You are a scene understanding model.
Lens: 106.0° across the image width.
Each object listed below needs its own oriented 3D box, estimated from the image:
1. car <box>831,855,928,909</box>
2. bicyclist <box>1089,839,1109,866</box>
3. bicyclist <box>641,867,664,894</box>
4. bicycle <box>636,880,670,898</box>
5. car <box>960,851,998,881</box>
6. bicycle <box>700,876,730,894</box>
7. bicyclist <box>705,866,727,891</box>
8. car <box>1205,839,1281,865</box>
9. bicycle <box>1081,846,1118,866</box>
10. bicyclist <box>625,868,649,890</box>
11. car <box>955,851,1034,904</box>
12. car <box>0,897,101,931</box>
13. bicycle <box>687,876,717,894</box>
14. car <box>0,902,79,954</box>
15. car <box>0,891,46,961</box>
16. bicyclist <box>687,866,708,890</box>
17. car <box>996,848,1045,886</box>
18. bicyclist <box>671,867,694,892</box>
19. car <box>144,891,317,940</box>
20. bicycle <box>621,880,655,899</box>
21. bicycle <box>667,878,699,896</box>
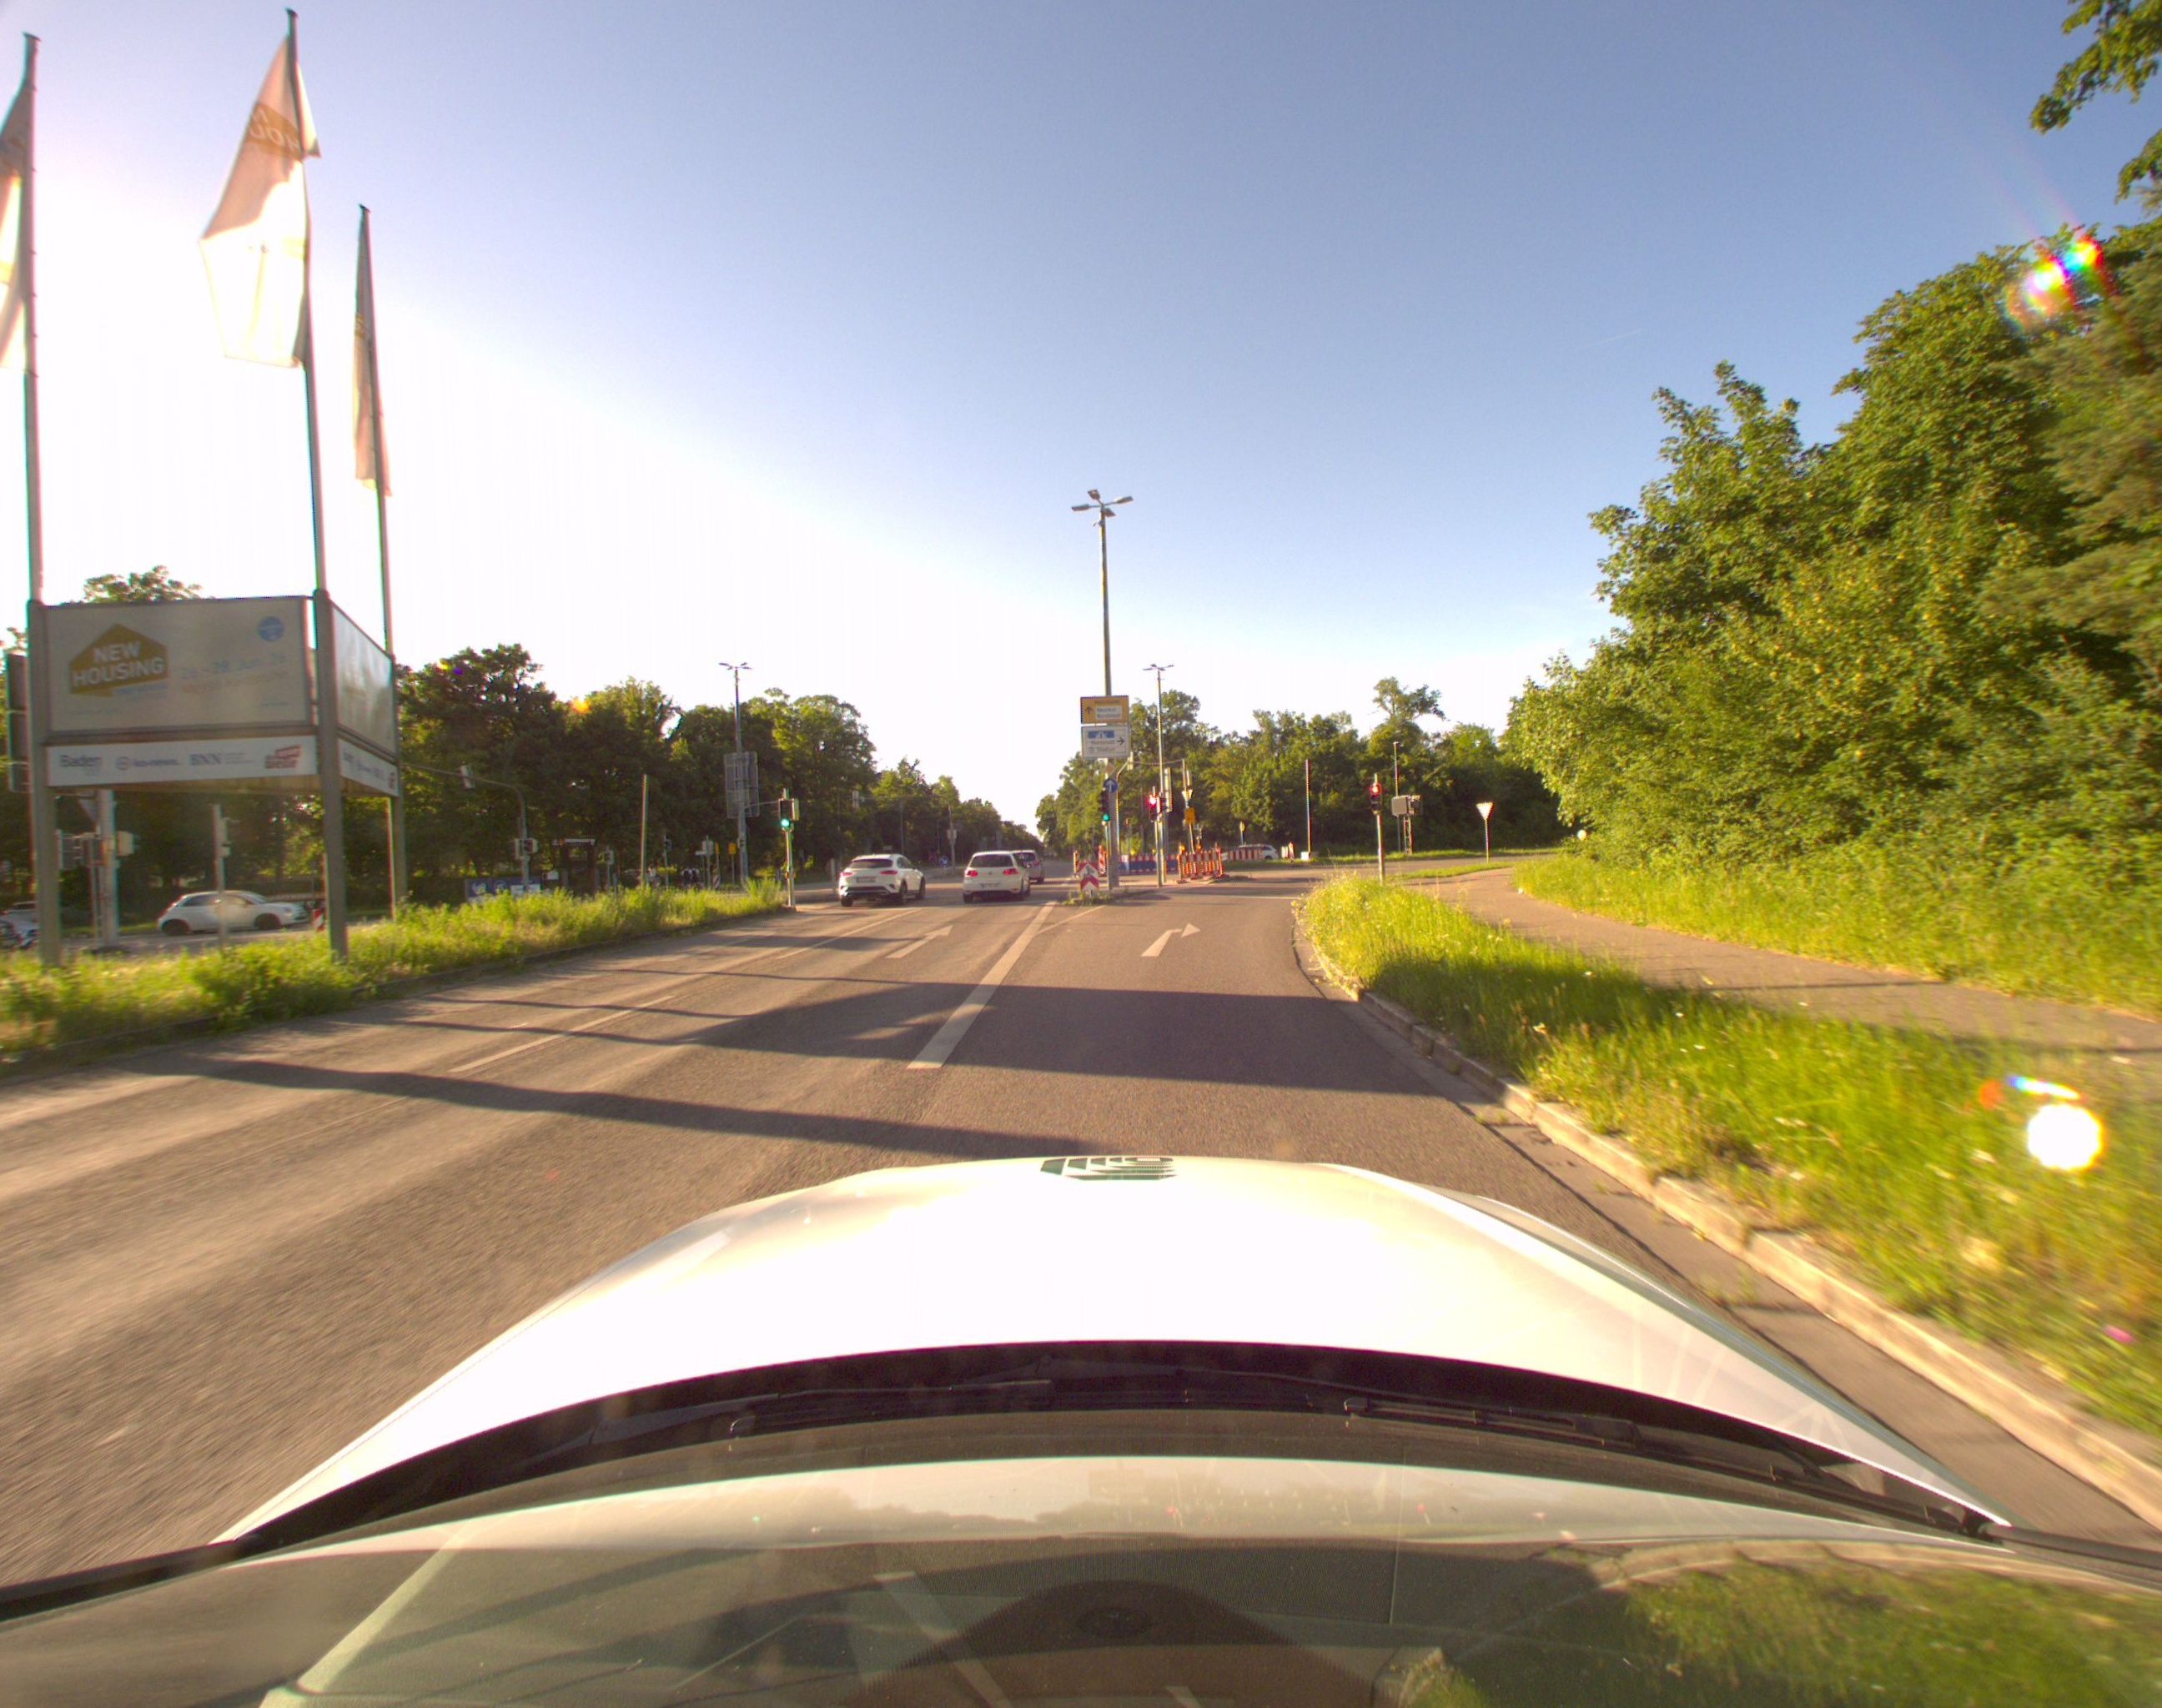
[{"bbox_3d":[-5.993,0.774,24.661,1.857,1.444,4.000,-2,0,1],"label":"car"},{"bbox_3d":[1.321,-0.115,59.852,1.020,1.929,0.959,-1,0,-32],"label":"bicyclist"},{"bbox_3d":[-23.930,1.475,45.493,0.707,1.389,0.991,-2,0,4],"label":"bicyclist"},{"bbox_3d":[-23.903,1.956,45.527,0.711,0.914,1.913,-2,0,4],"label":"bicycle"},{"bbox_3d":[-6.130,0.685,49.303,1.989,1.684,3.995,-3,0,-3],"label":"car"},{"bbox_3d":[-20.771,1.772,46.284,0.711,0.914,1.913,-2,0,4],"label":"bicycle"},{"bbox_3d":[-20.781,1.378,46.343,0.711,1.339,0.991,-2,0,4],"label":"bicyclist"},{"bbox_3d":[11.221,-0.106,56.418,4.836,1.580,1.986,-2,0,-21],"label":"car"},{"bbox_3d":[1.359,0.168,59.863,2.649,1.383,0.959,-1,0,-32],"label":"bicycle"},{"bbox_3d":[-24.834,1.395,45.606,0.711,1.192,0.991,-2,0,4],"label":"bicyclist"},{"bbox_3d":[-2.575,0.672,25.155,1.934,1.414,3.999,-3,0,0],"label":"car"},{"bbox_3d":[-58.608,3.357,46.353,1.815,1.599,4.165,-2,0,-22],"label":"car"},{"bbox_3d":[-22.540,1.841,48.454,0.711,0.914,1.913,-2,0,4],"label":"bicycle"},{"bbox_3d":[-33.160,2.297,24.238,3.806,1.389,1.634,-3,0,-25],"label":"car"},{"bbox_3d":[-31.433,2.049,21.317,4.942,1.829,1.912,-3,0,-25],"label":"car"},{"bbox_3d":[-22.591,1.404,47.996,0.711,1.342,0.991,-2,0,4],"label":"bicyclist"},{"bbox_3d":[-2.680,0.536,36.475,1.989,1.536,3.995,-3,0,-3],"label":"car"},{"bbox_3d":[-22.659,1.425,46.358,0.711,1.355,0.991,-2,0,4],"label":"bicyclist"},{"bbox_3d":[-30.379,2.152,29.263,3.806,1.389,1.912,-3,0,-25],"label":"car"},{"bbox_3d":[-24.807,1.987,45.605,0.711,0.914,1.913,-2,1,4],"label":"bicycle"},{"bbox_3d":[-22.642,1.859,46.362,0.711,0.914,1.913,-2,0,4],"label":"bicycle"}]
